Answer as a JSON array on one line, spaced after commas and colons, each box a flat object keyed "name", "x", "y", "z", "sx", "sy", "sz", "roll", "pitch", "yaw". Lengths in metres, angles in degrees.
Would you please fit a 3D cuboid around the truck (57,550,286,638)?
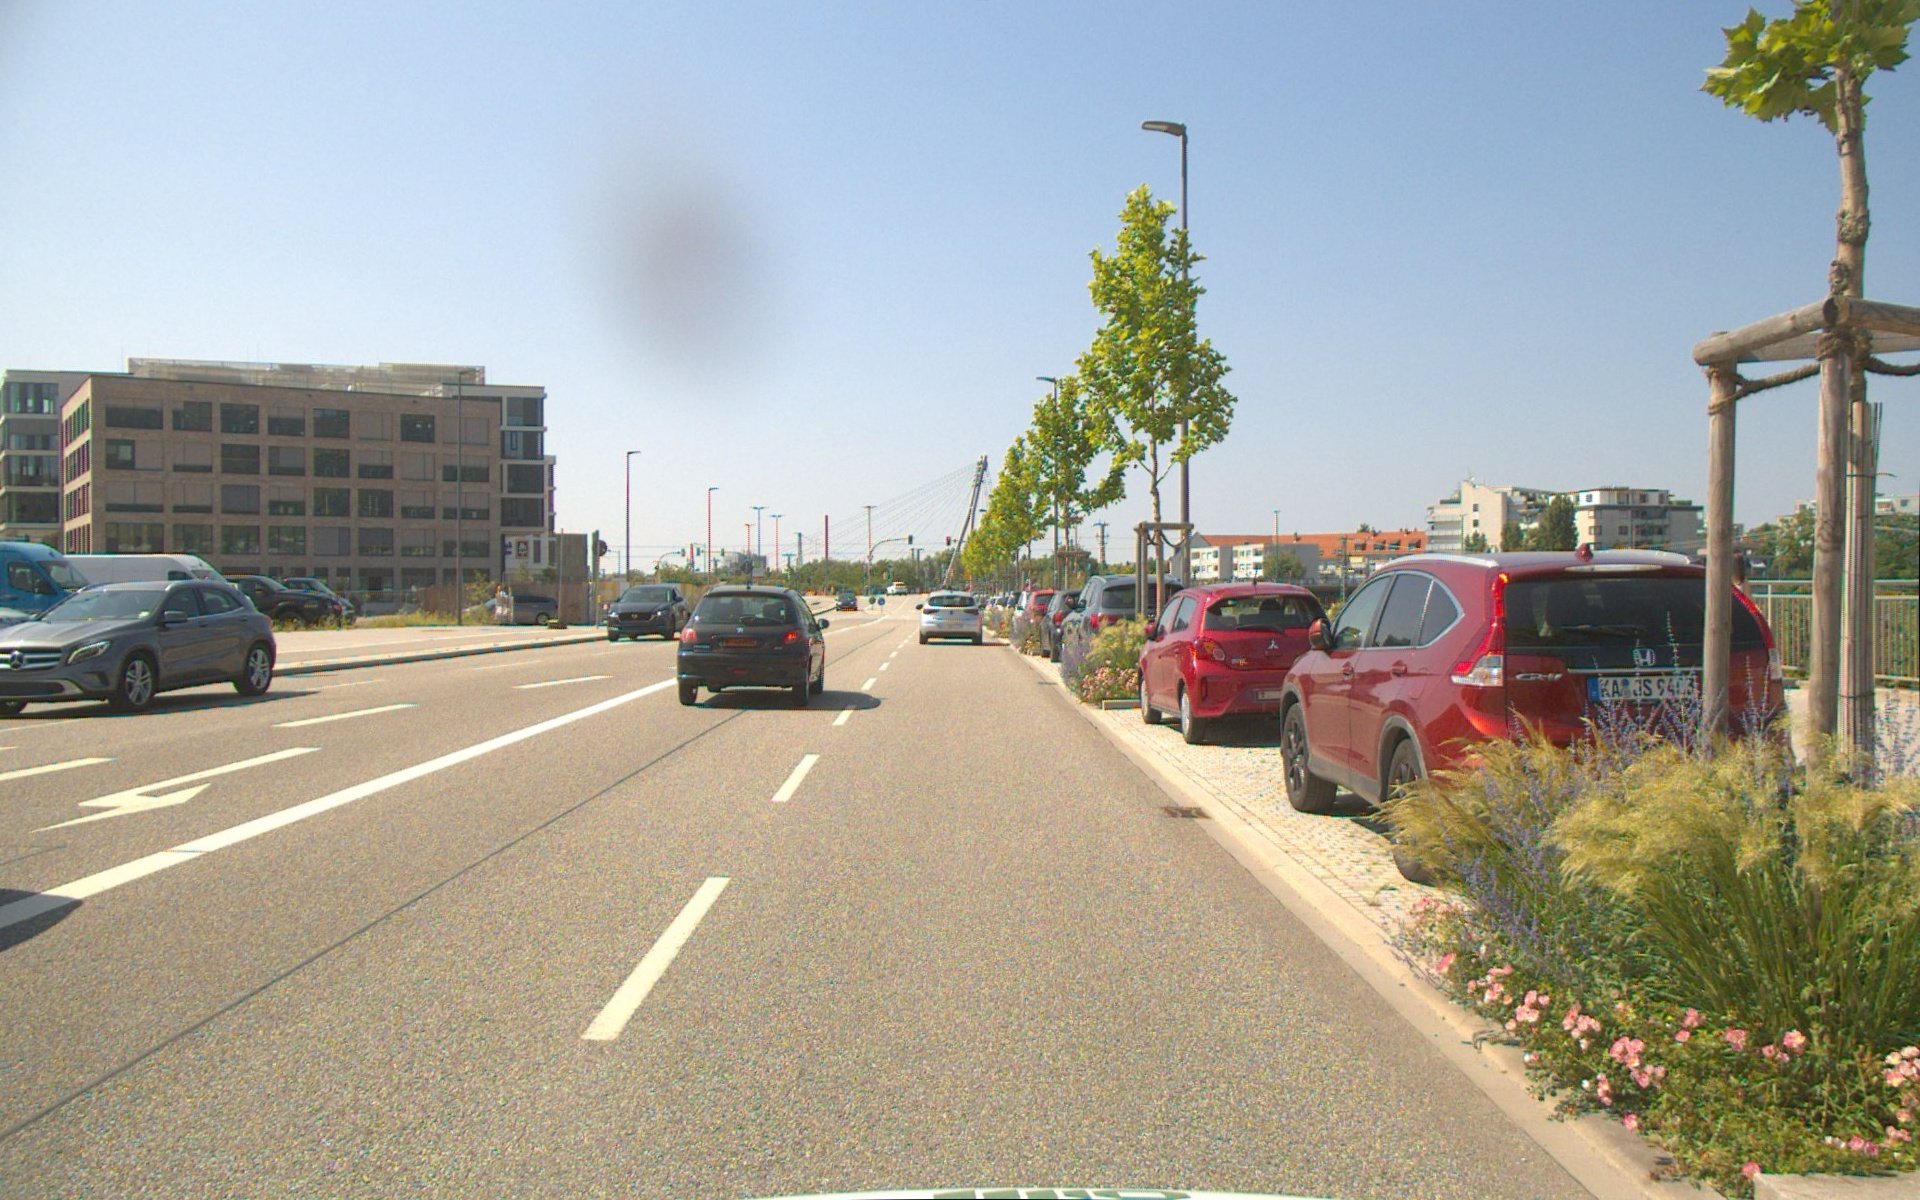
[{"name": "truck", "x": -22.610, "y": -0.168, "z": 47.627, "sx": 5.455, "sy": 2.404, "sz": 2.274, "roll": -1, "pitch": 0, "yaw": -2}]

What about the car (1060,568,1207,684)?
[{"name": "car", "x": 2.632, "y": 0.358, "z": 26.018, "sx": 1.699, "sy": 1.636, "sz": 4.239, "roll": -2, "pitch": 0, "yaw": -2}]

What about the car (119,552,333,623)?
[{"name": "car", "x": -23.488, "y": -0.420, "z": 53.153, "sx": 5.766, "sy": 2.203, "sz": 2.394, "roll": 0, "pitch": 1, "yaw": -4}]

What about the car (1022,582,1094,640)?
[{"name": "car", "x": 2.682, "y": 0.266, "z": 46.130, "sx": 1.682, "sy": 1.476, "sz": 4.000, "roll": 1, "pitch": 1, "yaw": -1}]

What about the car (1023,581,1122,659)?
[{"name": "car", "x": 2.286, "y": 0.362, "z": 34.423, "sx": 1.600, "sy": 1.454, "sz": 4.239, "roll": -2, "pitch": 1, "yaw": -2}]

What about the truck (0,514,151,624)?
[{"name": "truck", "x": -23.334, "y": -0.723, "z": 40.452, "sx": 5.885, "sy": 2.588, "sz": 2.273, "roll": -1, "pitch": 0, "yaw": -4}]

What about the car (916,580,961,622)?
[{"name": "car", "x": -0.910, "y": 0.024, "z": 72.738, "sx": 1.756, "sy": 1.780, "sz": 4.001, "roll": 2, "pitch": 0, "yaw": 2}]

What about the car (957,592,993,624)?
[{"name": "car", "x": 0.767, "y": 0.369, "z": 83.560, "sx": 1.710, "sy": 1.535, "sz": 4.002, "roll": 1, "pitch": 0, "yaw": 1}]

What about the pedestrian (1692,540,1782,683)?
[{"name": "pedestrian", "x": 9.646, "y": 0.147, "z": 20.554, "sx": 0.765, "sy": 1.735, "sz": 0.742, "roll": 1, "pitch": -1, "yaw": 0}]

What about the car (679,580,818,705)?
[{"name": "car", "x": -2.657, "y": 0.487, "z": 21.419, "sx": 1.588, "sy": 1.441, "sz": 3.724, "roll": 1, "pitch": 0, "yaw": -5}]

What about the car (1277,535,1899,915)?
[{"name": "car", "x": 3.170, "y": 0.503, "z": 9.478, "sx": 1.869, "sy": 1.645, "sz": 4.549, "roll": 0, "pitch": 1, "yaw": 0}]

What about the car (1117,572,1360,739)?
[{"name": "car", "x": 2.810, "y": 0.502, "z": 17.469, "sx": 1.572, "sy": 1.517, "sz": 3.814, "roll": -2, "pitch": 0, "yaw": -5}]

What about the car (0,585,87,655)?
[{"name": "car", "x": -22.965, "y": 0.381, "z": 37.108, "sx": 5.538, "sy": 1.500, "sz": 2.106, "roll": 1, "pitch": 0, "yaw": -3}]

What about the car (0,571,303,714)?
[{"name": "car", "x": -9.966, "y": 0.444, "z": 20.101, "sx": 1.862, "sy": 1.522, "sz": 4.390, "roll": -1, "pitch": 1, "yaw": 5}]

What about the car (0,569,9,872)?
[{"name": "car", "x": -5.389, "y": 0.565, "z": 5.501, "sx": 1.750, "sy": 1.422, "sz": 4.572, "roll": 1, "pitch": 0, "yaw": 1}]

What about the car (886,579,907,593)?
[{"name": "car", "x": -7.968, "y": -1.745, "z": 207.690, "sx": 1.823, "sy": 1.678, "sz": 3.985, "roll": 1, "pitch": 0, "yaw": -14}]

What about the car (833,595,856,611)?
[{"name": "car", "x": -9.834, "y": 0.260, "z": 141.223, "sx": 1.669, "sy": 1.376, "sz": 4.455, "roll": -1, "pitch": 0, "yaw": -1}]

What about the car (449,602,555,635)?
[{"name": "car", "x": -20.575, "y": 0.812, "z": 74.408, "sx": 4.200, "sy": 1.341, "sz": 1.975, "roll": -1, "pitch": 0, "yaw": -36}]

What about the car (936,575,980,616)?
[{"name": "car", "x": -0.063, "y": -0.172, "z": 70.581, "sx": 1.741, "sy": 1.596, "sz": 4.000, "roll": 1, "pitch": -1, "yaw": 1}]

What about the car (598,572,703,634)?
[{"name": "car", "x": -8.706, "y": 0.069, "z": 46.883, "sx": 1.862, "sy": 1.656, "sz": 4.389, "roll": -1, "pitch": 0, "yaw": 4}]

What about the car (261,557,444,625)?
[{"name": "car", "x": -20.572, "y": -0.314, "z": 56.207, "sx": 5.336, "sy": 2.211, "sz": 2.393, "roll": -1, "pitch": 0, "yaw": -4}]

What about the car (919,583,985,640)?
[{"name": "car", "x": -0.190, "y": 0.296, "z": 46.566, "sx": 1.741, "sy": 1.467, "sz": 4.001, "roll": 2, "pitch": 1, "yaw": 1}]

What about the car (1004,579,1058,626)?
[{"name": "car", "x": 2.522, "y": 0.084, "z": 59.047, "sx": 1.869, "sy": 1.605, "sz": 4.159, "roll": 0, "pitch": 0, "yaw": 2}]

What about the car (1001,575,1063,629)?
[{"name": "car", "x": 2.202, "y": 0.043, "z": 51.315, "sx": 1.682, "sy": 1.551, "sz": 3.642, "roll": 1, "pitch": 0, "yaw": -1}]
